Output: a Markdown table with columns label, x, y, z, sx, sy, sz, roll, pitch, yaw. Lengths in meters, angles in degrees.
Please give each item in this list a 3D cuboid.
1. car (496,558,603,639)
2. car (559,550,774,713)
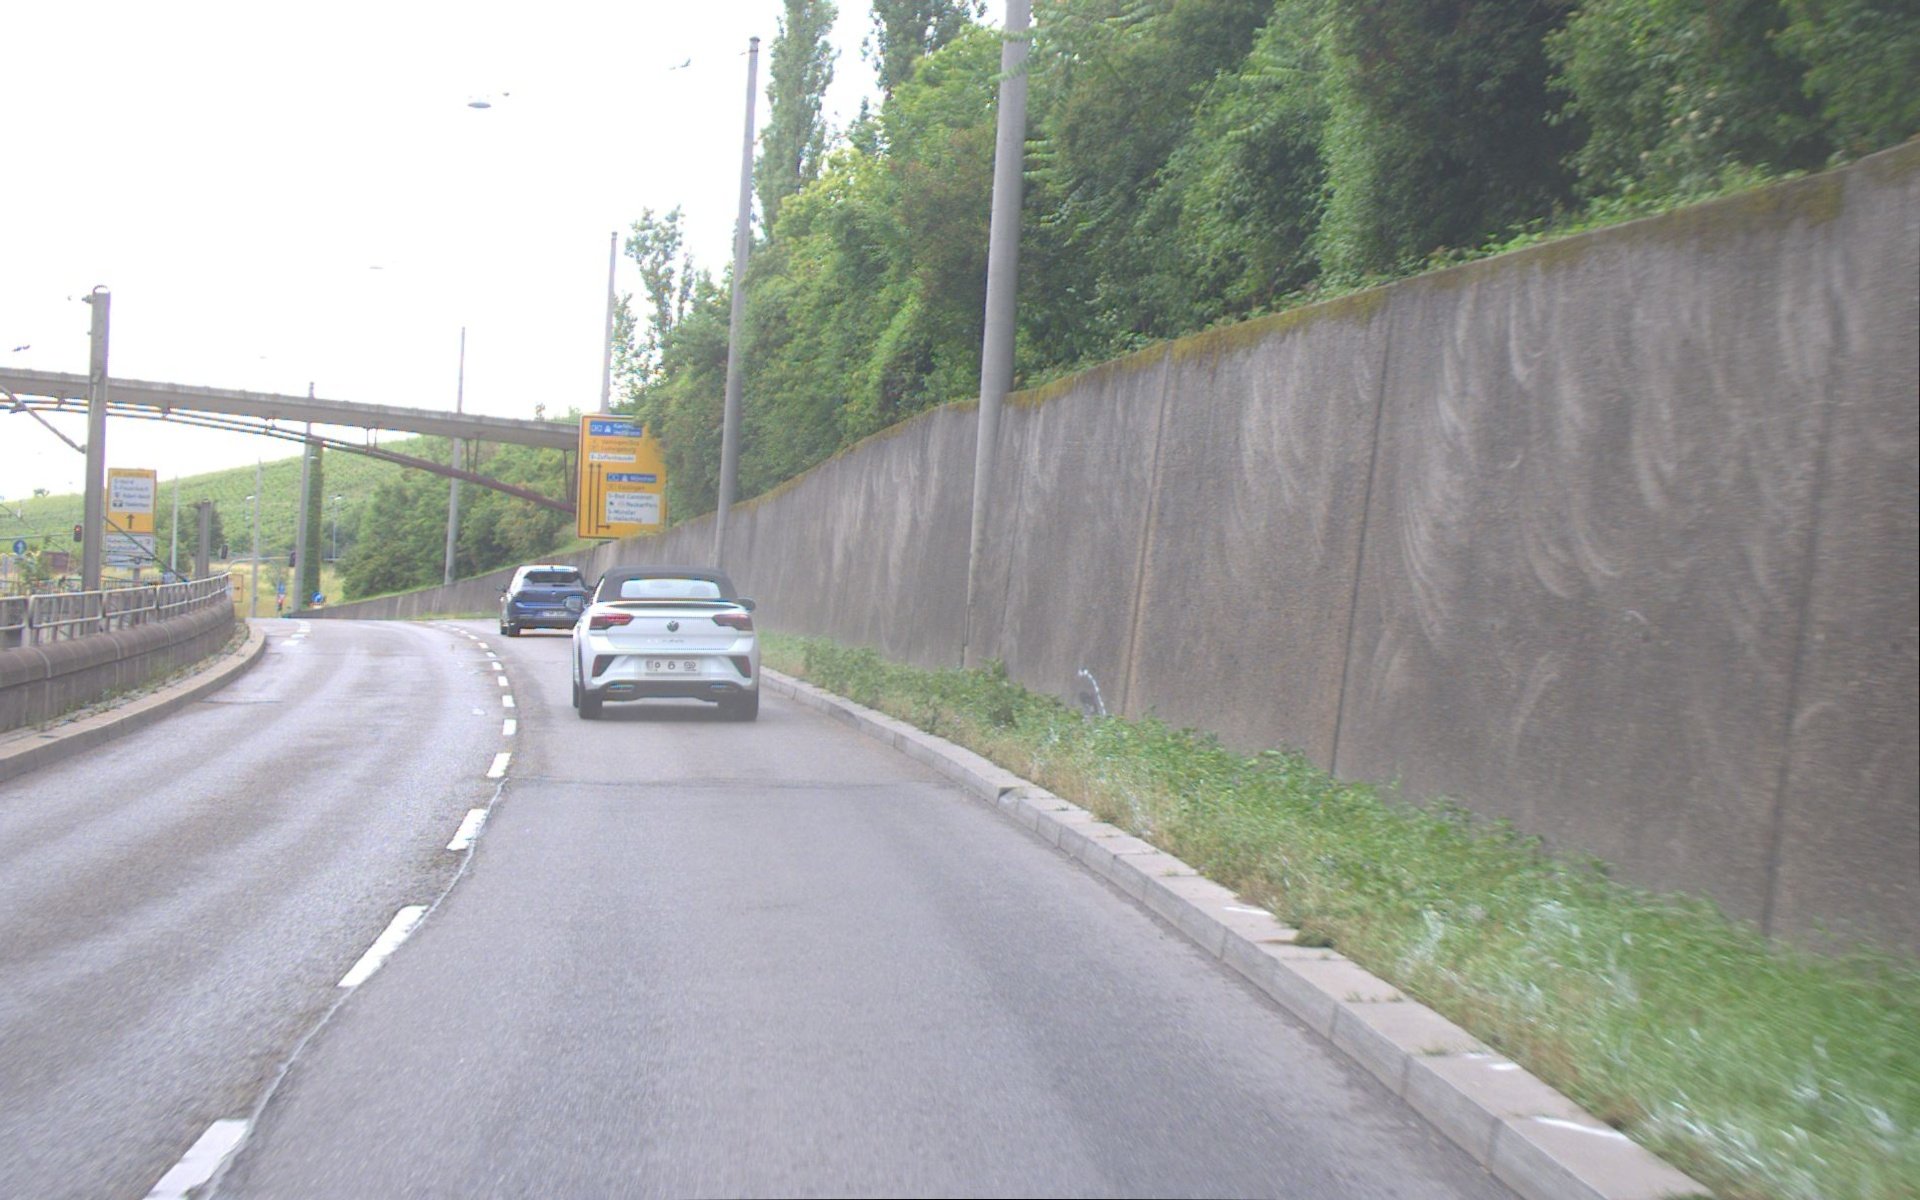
| label | x | y | z | sx | sy | sz | roll | pitch | yaw |
| --- | --- | --- | --- | --- | --- | --- | --- | --- | --- |
| car | -8.393 | -0.054 | 70.566 | 1.926 | 1.594 | 4.062 | 0 | 1 | -3 |
| car | -3.066 | 0.277 | 35.210 | 1.995 | 1.573 | 4.126 | 0 | 1 | -8 |
